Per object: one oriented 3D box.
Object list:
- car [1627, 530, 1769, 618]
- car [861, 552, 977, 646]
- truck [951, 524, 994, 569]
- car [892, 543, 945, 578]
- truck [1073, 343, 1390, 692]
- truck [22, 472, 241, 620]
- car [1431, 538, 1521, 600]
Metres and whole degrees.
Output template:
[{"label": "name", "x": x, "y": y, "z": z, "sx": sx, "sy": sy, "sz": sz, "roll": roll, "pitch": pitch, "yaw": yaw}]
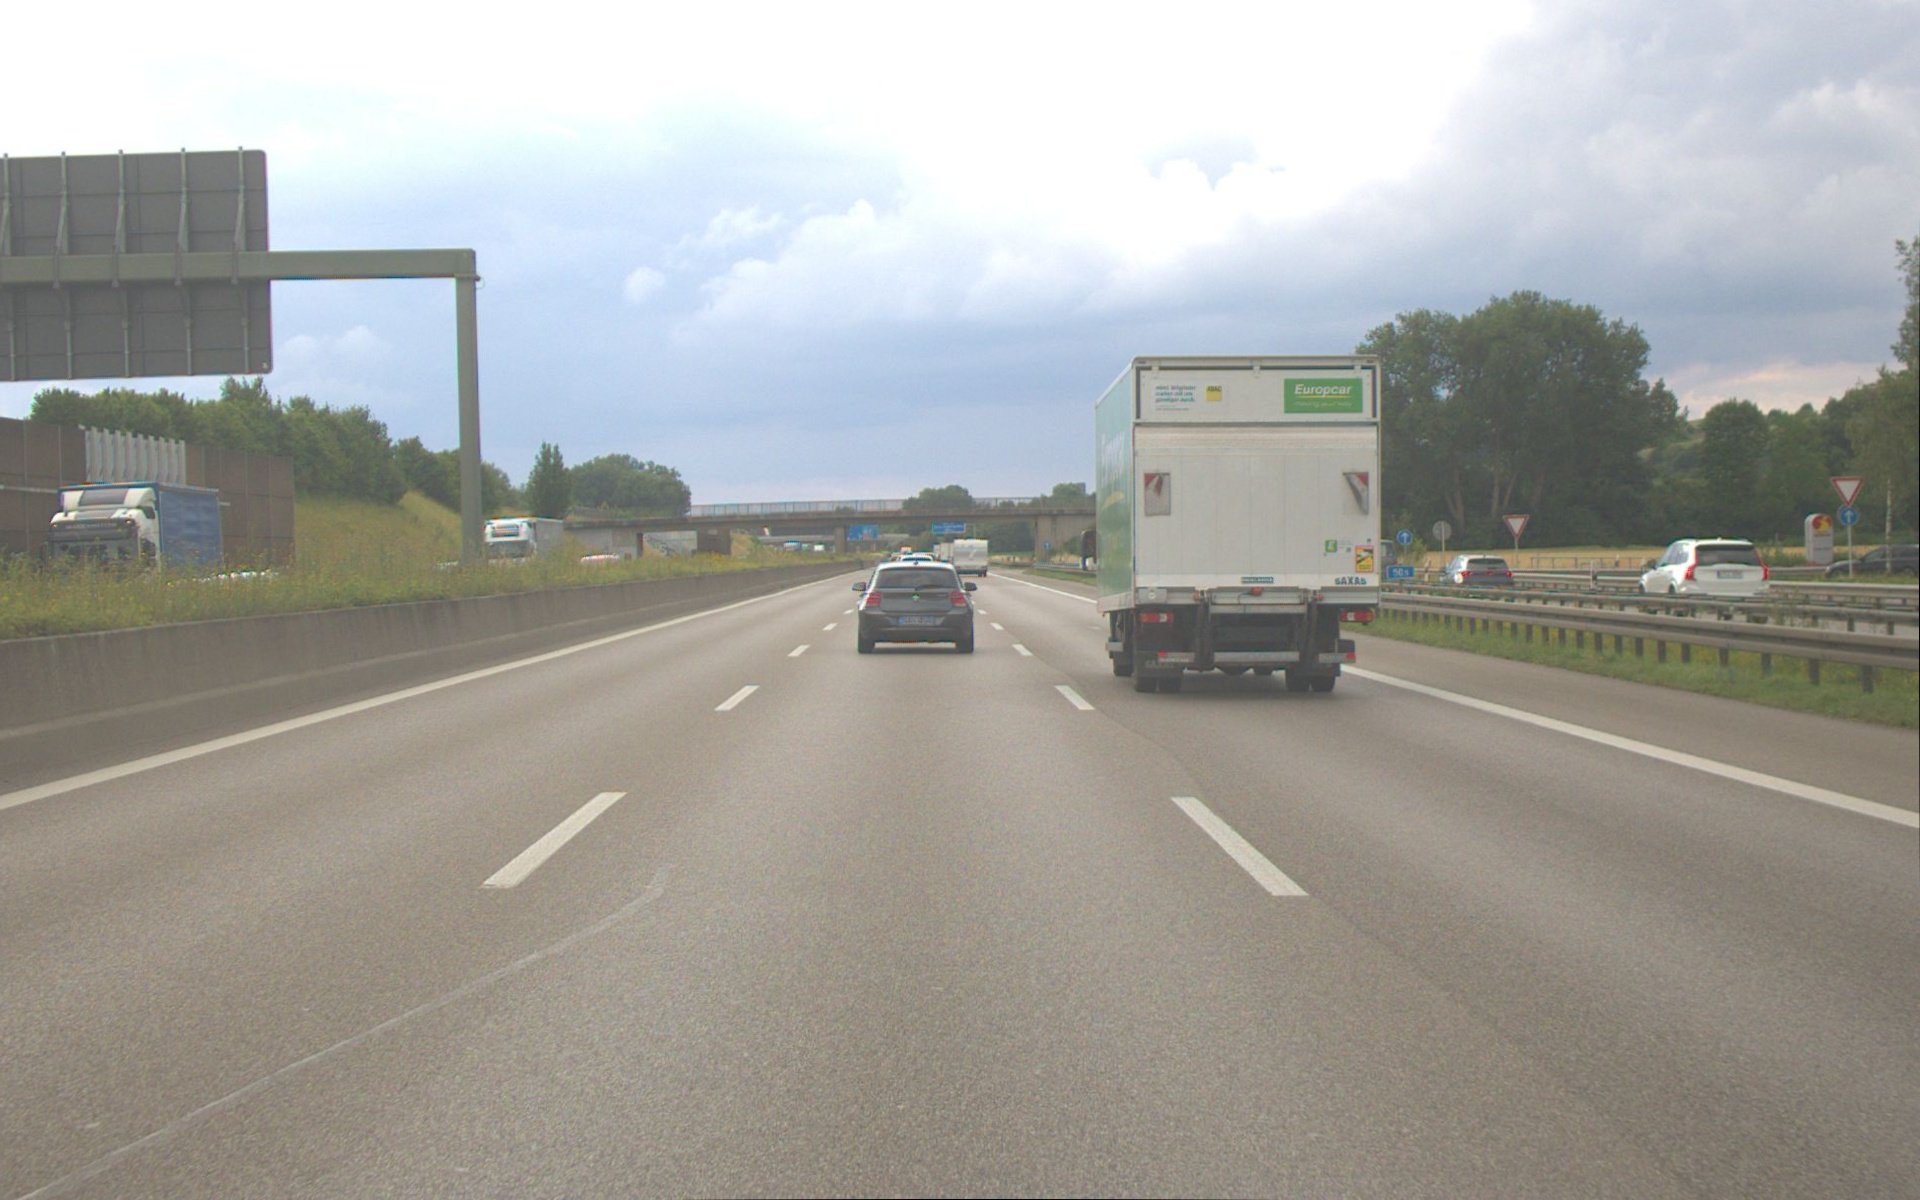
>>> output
[{"label": "car", "x": 15.475, "y": -0.573, "z": 72.313, "sx": 1.828, "sy": 1.751, "sz": 5.066, "roll": -1, "pitch": 1, "yaw": -1}, {"label": "car", "x": -0.637, "y": -0.044, "z": 53.519, "sx": 1.743, "sy": 1.384, "sz": 4.000, "roll": 0, "pitch": 1, "yaw": -1}, {"label": "truck", "x": 0.823, "y": -3.652, "z": 237.198, "sx": 2.710, "sy": 2.954, "sz": 12.447, "roll": 1, "pitch": 1, "yaw": -1}, {"label": "car", "x": -1.646, "y": -1.531, "z": 134.404, "sx": 1.993, "sy": 1.294, "sz": 4.000, "roll": -2, "pitch": 1, "yaw": -1}, {"label": "truck", "x": 2.876, "y": -0.898, "z": 39.060, "sx": 2.770, "sy": 3.492, "sz": 9.062, "roll": 0, "pitch": 1, "yaw": -1}, {"label": "truck", "x": -21.637, "y": -1.416, "z": 90.504, "sx": 3.259, "sy": 3.591, "sz": 10.936, "roll": -1, "pitch": 1, "yaw": -1}, {"label": "car", "x": 15.276, "y": -0.938, "z": 102.003, "sx": 1.828, "sy": 1.751, "sz": 5.066, "roll": -1, "pitch": 1, "yaw": -1}]
